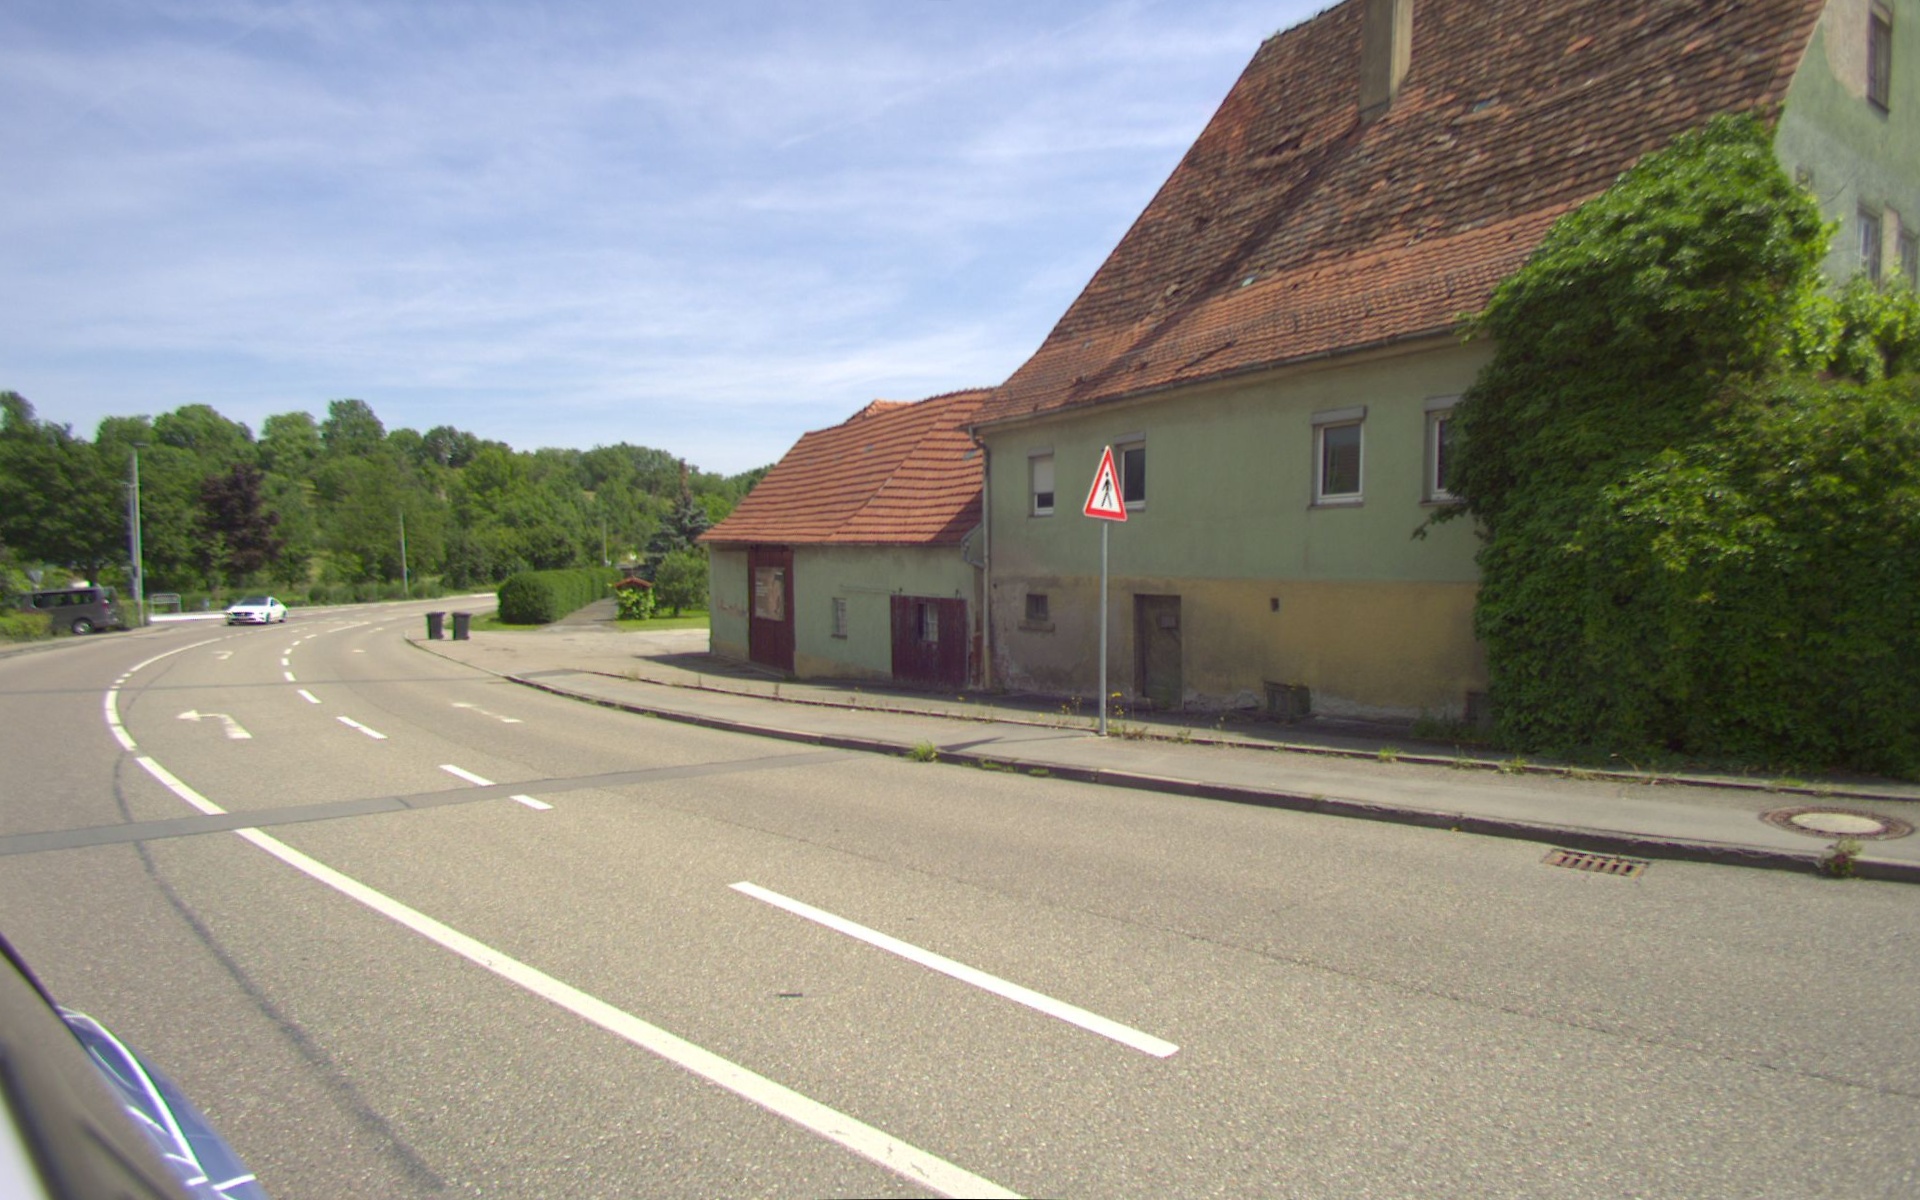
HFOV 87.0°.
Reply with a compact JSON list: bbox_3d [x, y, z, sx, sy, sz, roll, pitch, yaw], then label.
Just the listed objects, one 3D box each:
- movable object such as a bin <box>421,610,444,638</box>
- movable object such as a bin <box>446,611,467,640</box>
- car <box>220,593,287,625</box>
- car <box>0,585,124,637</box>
[{"bbox_3d":[-20.882,0.958,40.074,0.541,1.090,0.600,-1,1,38],"label":"movable object such as a bin"},{"bbox_3d":[-19.482,0.983,39.163,0.541,1.058,0.528,-1,1,38],"label":"movable object such as a bin"},{"bbox_3d":[-37.405,0.452,53.699,1.796,1.563,4.013,-2,1,-18],"label":"car"},{"bbox_3d":[-37.339,0.426,41.823,3.843,1.964,1.962,-2,1,-25],"label":"car"}]
